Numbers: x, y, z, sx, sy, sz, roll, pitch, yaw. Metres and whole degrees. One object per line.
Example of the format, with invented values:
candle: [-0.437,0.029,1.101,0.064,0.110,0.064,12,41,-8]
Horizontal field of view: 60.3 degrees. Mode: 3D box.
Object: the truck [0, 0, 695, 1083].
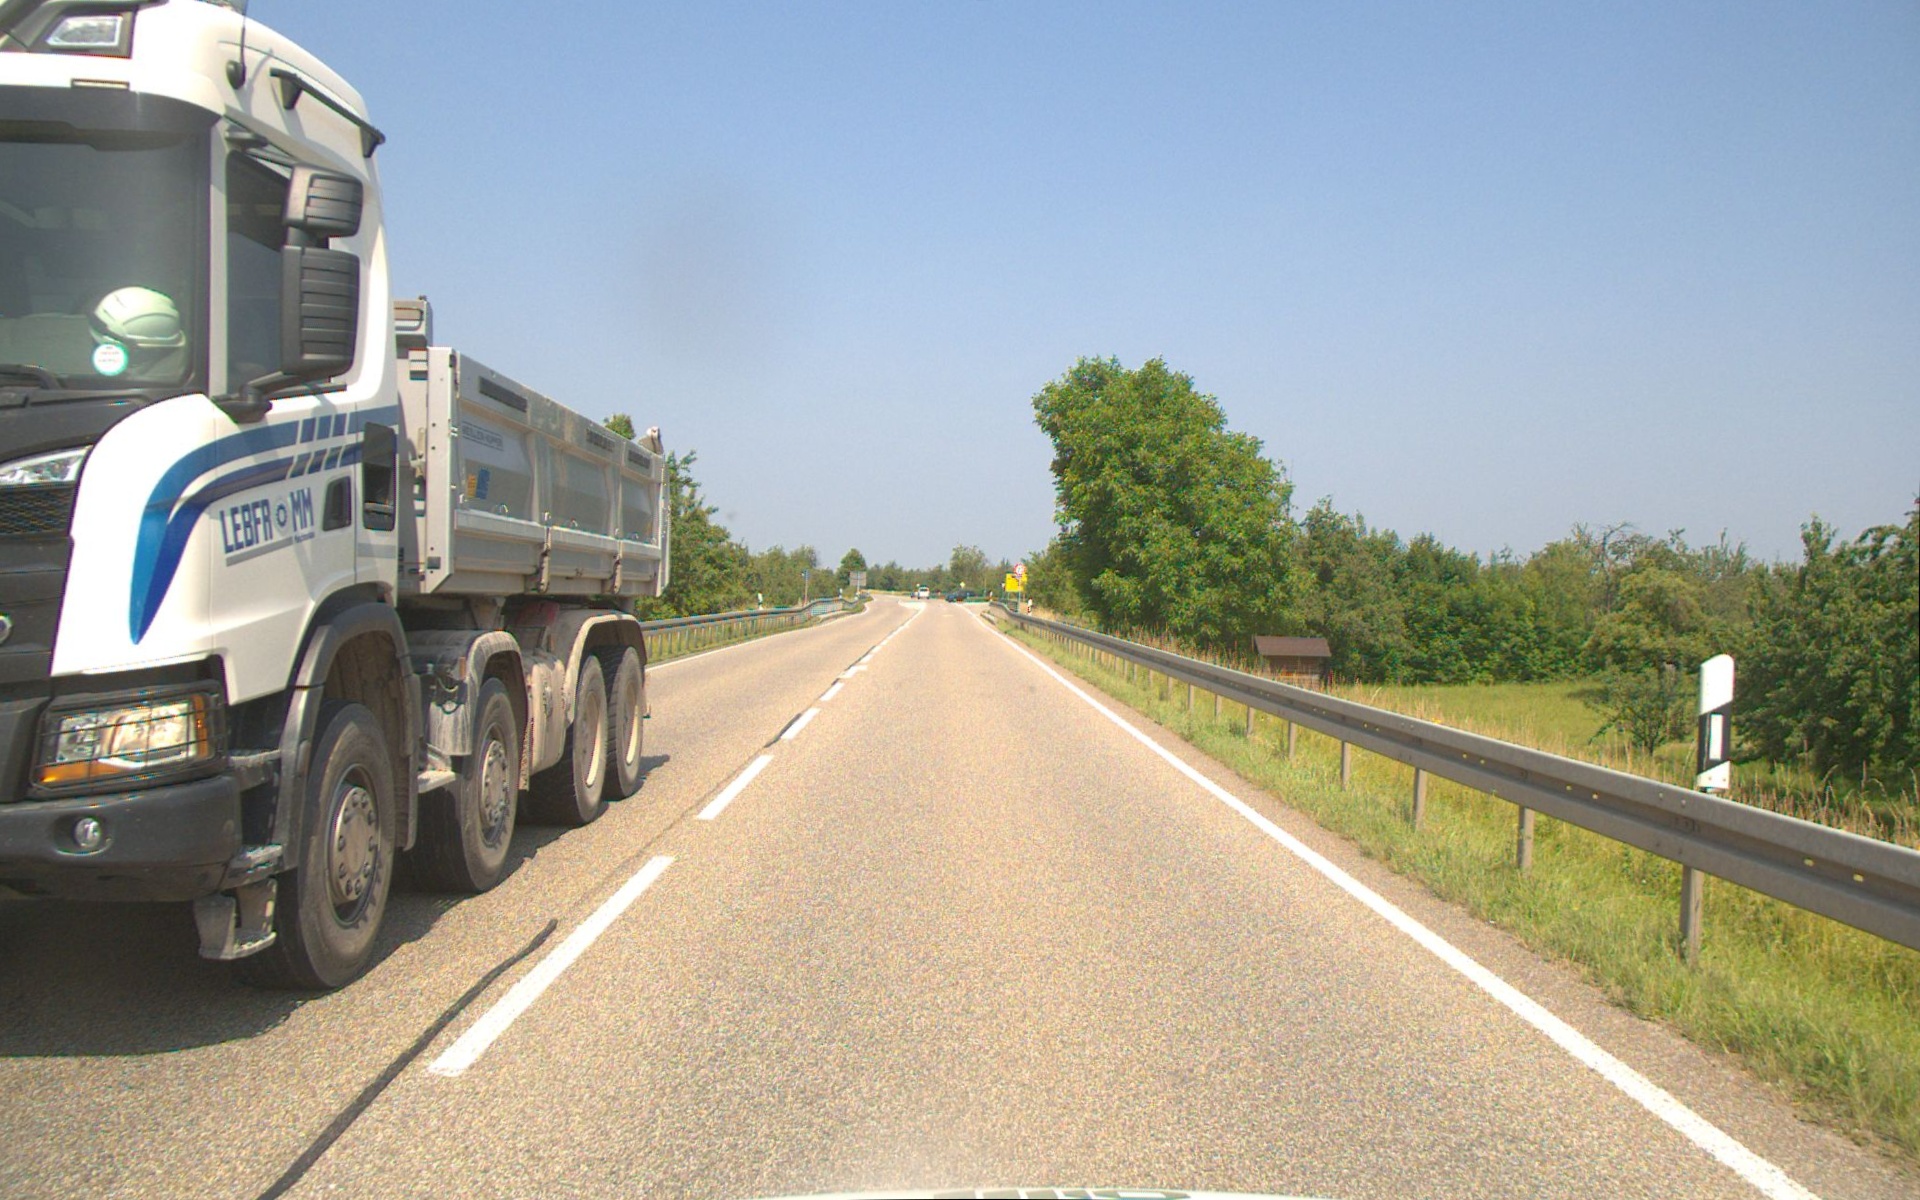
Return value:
truck: [-3.529,-0.536,9.281,2.672,3.736,9.381,1,0,-1]
